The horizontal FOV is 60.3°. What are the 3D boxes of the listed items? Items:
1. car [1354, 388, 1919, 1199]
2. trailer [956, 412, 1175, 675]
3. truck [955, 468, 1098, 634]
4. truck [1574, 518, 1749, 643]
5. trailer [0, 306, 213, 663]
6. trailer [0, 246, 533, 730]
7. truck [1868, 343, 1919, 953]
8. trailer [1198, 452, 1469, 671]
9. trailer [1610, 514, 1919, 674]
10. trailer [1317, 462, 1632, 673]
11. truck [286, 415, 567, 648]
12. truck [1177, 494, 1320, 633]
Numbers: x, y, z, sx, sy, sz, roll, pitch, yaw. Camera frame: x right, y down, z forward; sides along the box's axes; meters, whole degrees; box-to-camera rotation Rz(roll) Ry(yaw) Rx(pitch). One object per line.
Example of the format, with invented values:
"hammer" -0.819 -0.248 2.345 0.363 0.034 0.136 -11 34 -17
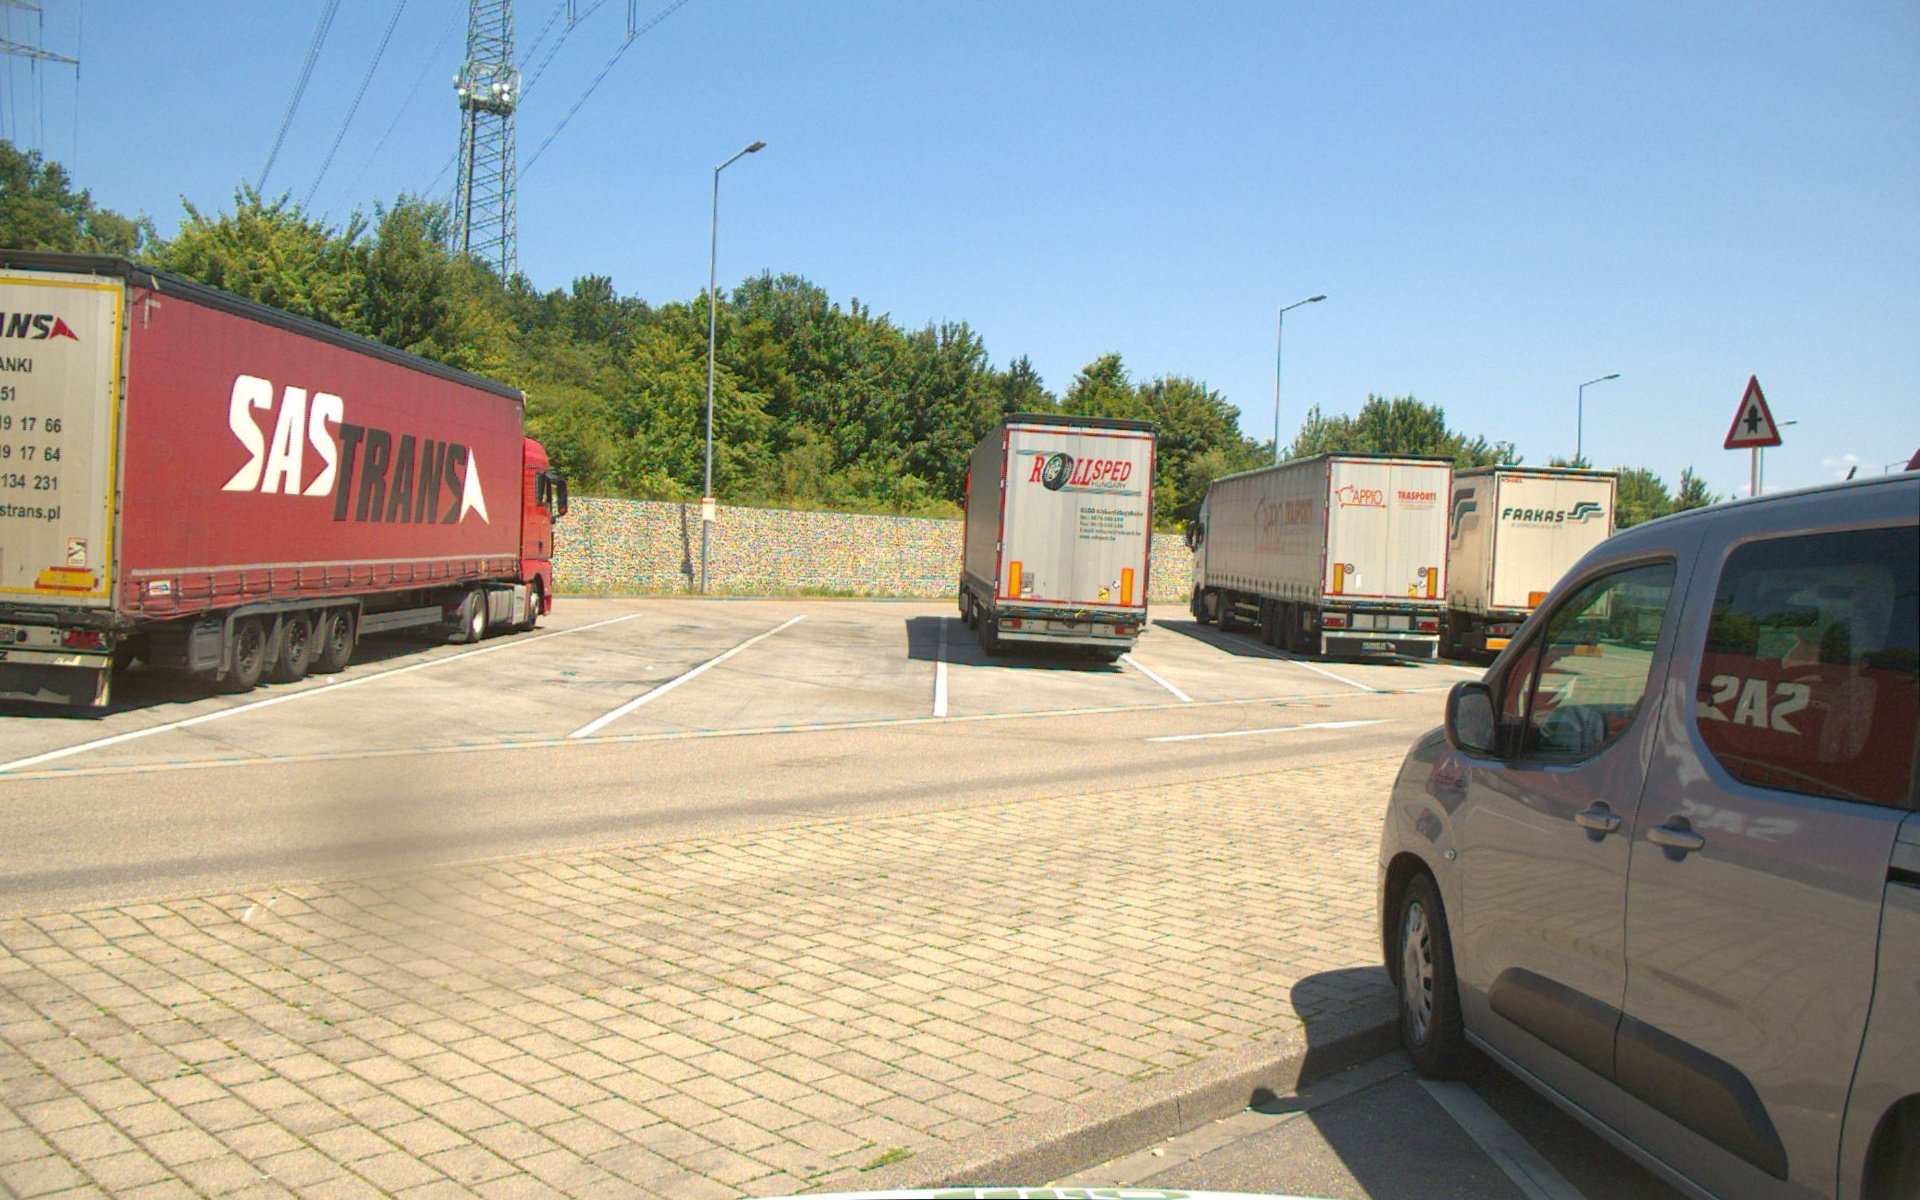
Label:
"car" 2.446 0.605 3.852 1.832 1.896 4.174 3 1 -2
"trailer" 1.668 -1.191 33.638 3.070 4.058 14.393 3 2 -1
"truck" 1.512 -1.237 40.528 3.041 3.628 5.900 3 2 -1
"truck" 21.778 -0.693 51.730 2.746 3.582 5.900 3 2 -1
"trailer" -12.544 -1.334 17.711 2.739 4.155 14.131 3 2 -1
"trailer" -8.717 -1.288 21.433 2.735 4.155 14.131 3 2 -1
"truck" 5.008 0.202 4.975 1.937 2.668 5.307 1 0 4
"trailer" 8.181 -1.027 38.846 2.754 4.058 14.395 3 2 -1
"trailer" 21.855 -0.389 44.500 2.754 3.568 14.395 3 2 -1
"trailer" 11.744 -0.933 39.950 2.754 4.058 14.395 3 2 -1
"truck" -8.781 -1.148 28.003 2.793 3.385 5.900 3 2 -1
"truck" 8.065 -1.090 46.946 2.804 3.582 5.900 3 2 -1
